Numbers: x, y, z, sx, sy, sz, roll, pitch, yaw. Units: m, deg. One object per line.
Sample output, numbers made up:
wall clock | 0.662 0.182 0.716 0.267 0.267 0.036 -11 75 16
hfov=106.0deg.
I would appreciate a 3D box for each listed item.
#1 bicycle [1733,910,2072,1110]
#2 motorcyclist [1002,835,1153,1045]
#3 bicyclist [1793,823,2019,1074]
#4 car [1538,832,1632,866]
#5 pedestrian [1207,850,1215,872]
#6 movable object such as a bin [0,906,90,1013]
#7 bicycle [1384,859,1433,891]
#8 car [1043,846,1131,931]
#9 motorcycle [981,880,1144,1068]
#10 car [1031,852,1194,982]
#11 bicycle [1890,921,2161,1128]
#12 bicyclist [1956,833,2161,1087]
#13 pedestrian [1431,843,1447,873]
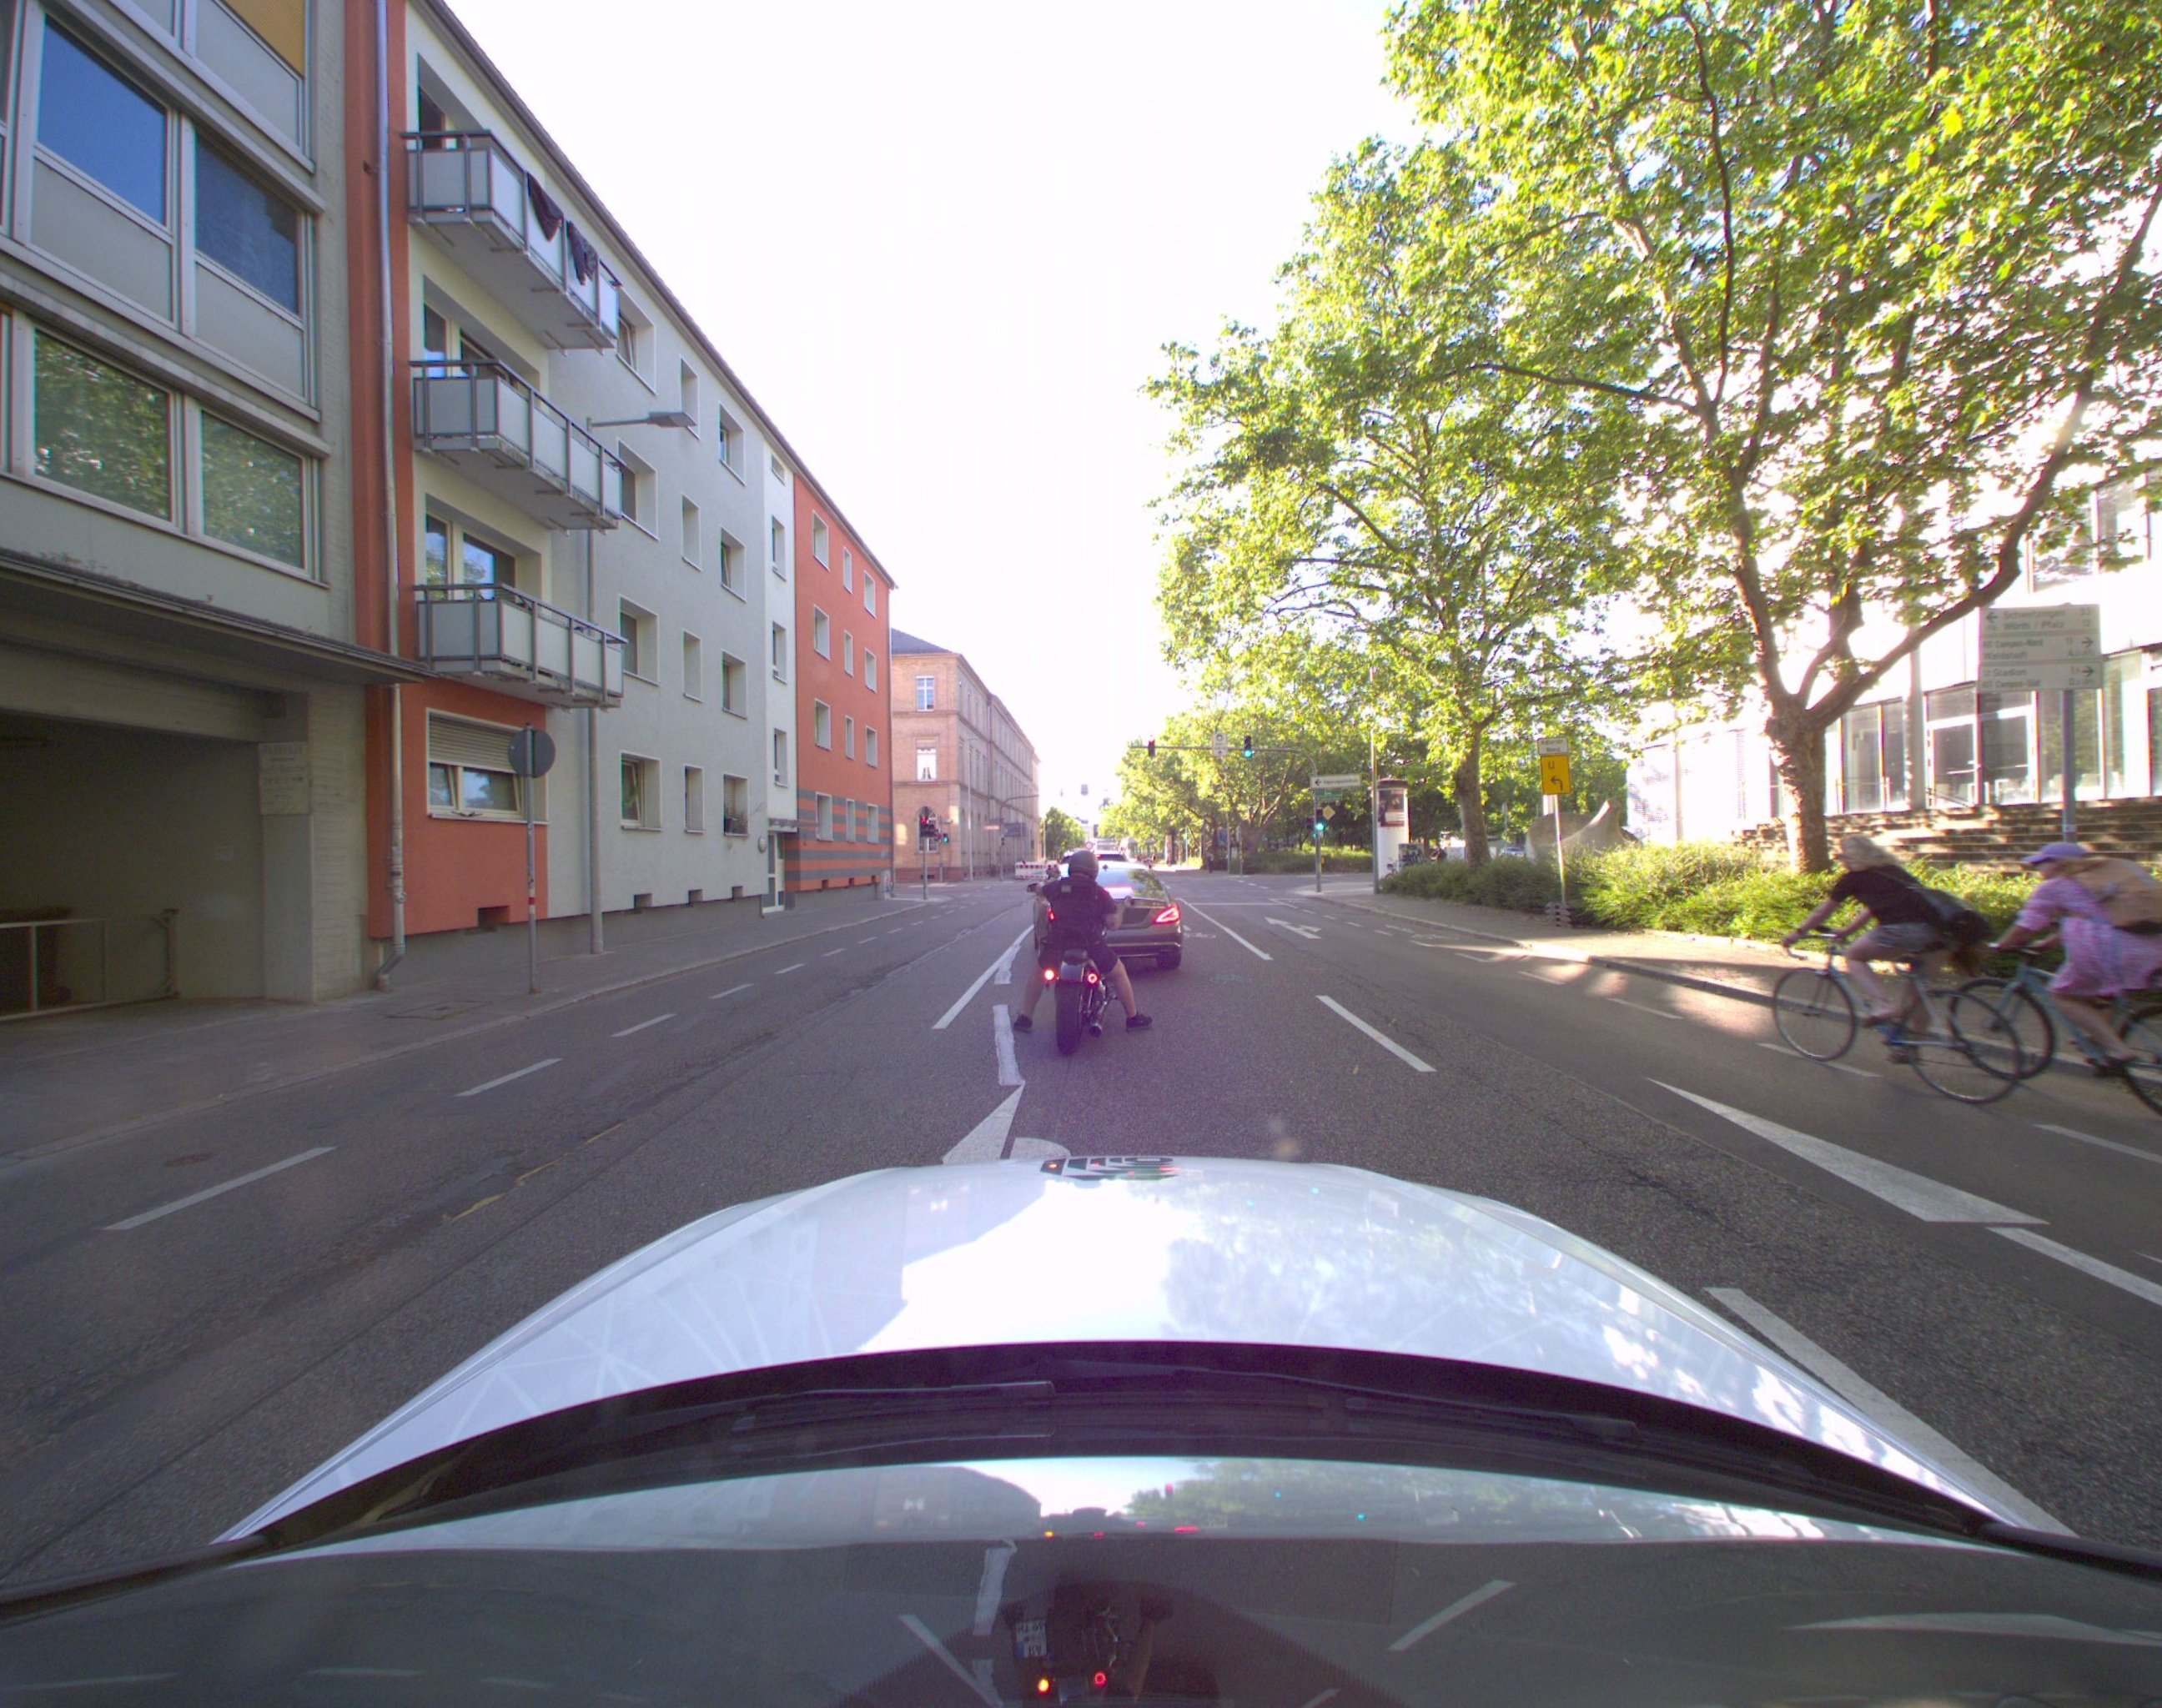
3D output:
bicycle | 5.415 0.956 5.546 0.608 1.026 1.732 0 0 2
motorcyclist | 0.020 0.670 6.925 1.107 1.613 1.204 -1 0 6
bicyclist | 5.389 0.570 5.381 0.608 1.516 0.890 0 0 2
car | 28.153 -0.258 45.602 3.975 1.784 2.004 -1 0 7
pedestrian | 10.333 0.544 64.782 0.557 1.678 0.565 -1 0 1
movable object such as a bin | -11.255 1.098 8.639 0.584 1.040 0.712 -1 0 2
bicycle | 10.980 0.707 27.332 1.411 1.037 0.538 -1 0 -2
car | 0.133 0.674 17.729 1.676 1.625 3.841 -1 0 1
motorcycle | -0.035 0.881 7.000 1.002 1.204 2.670 -1 0 7
car | 0.245 0.745 11.749 1.818 1.476 4.346 -1 0 -5
bicycle | 6.124 0.981 4.946 0.598 0.985 1.882 1 0 2
bicyclist | 6.130 0.588 4.968 0.598 1.402 0.931 1 0 2
pedestrian | 21.058 0.230 47.915 0.617 1.784 0.631 -1 0 4
